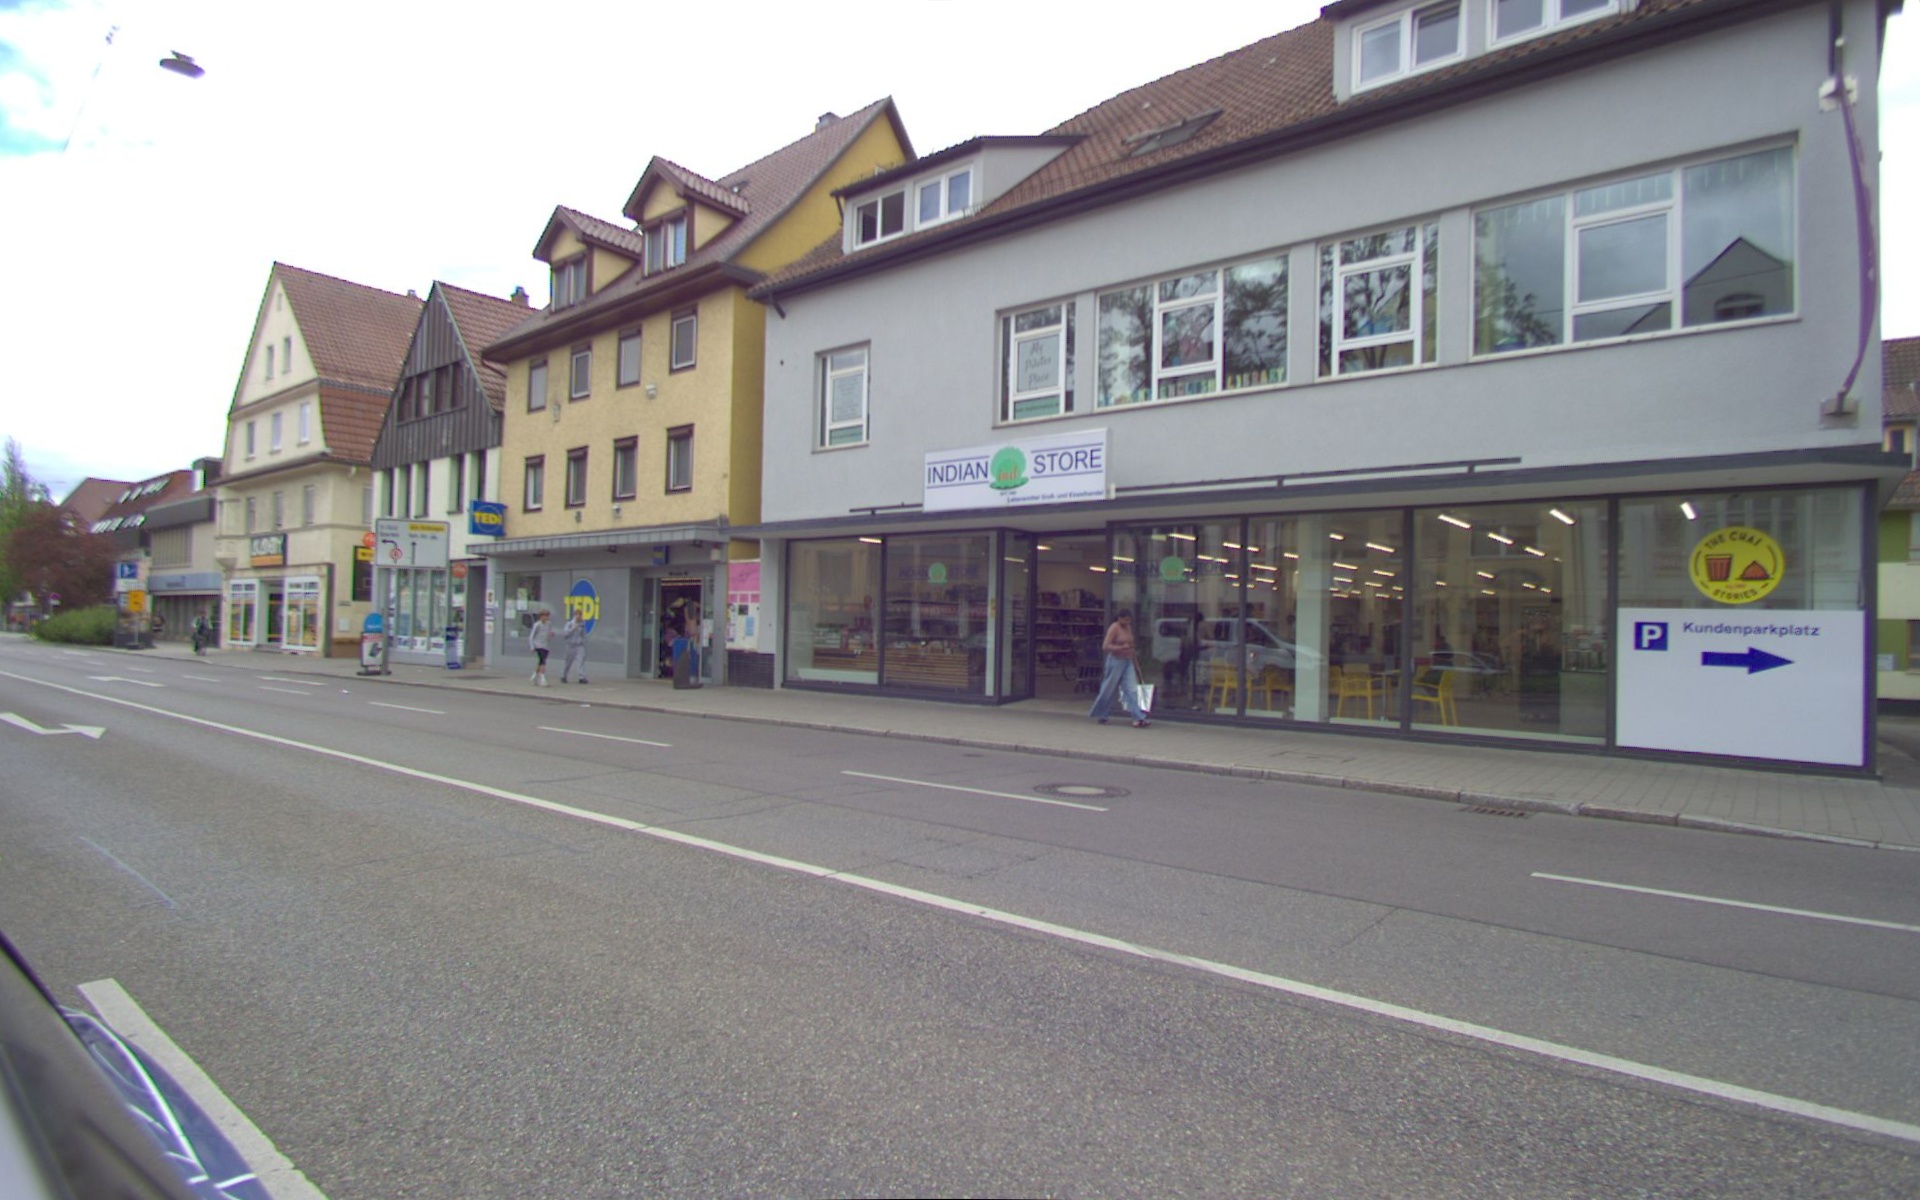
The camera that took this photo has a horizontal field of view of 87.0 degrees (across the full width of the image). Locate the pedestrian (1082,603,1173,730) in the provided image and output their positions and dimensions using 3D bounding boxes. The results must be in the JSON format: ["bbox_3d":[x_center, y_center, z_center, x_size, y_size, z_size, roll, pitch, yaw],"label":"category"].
[{"bbox_3d":[2.326,0.891,14.038,0.871,1.679,0.988,-1,-2,41],"label":"pedestrian"}]

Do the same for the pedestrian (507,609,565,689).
[{"bbox_3d":[-9.144,1.038,21.836,0.920,1.674,0.801,-1,-2,41],"label":"pedestrian"}]

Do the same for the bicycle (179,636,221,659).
[{"bbox_3d":[-29.135,1.808,38.799,2.238,0.829,0.763,-1,-2,40],"label":"bicycle"}]

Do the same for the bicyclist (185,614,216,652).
[{"bbox_3d":[-29.127,1.270,38.826,0.751,1.434,0.764,-1,-2,39],"label":"bicyclist"}]

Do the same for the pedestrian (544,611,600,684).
[{"bbox_3d":[-8.630,1.041,22.515,0.920,1.595,0.801,-1,-2,41],"label":"pedestrian"}]

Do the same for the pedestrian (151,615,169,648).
[{"bbox_3d":[-46.582,1.840,58.912,0.678,1.917,0.665,-1,-2,40],"label":"pedestrian"}]
